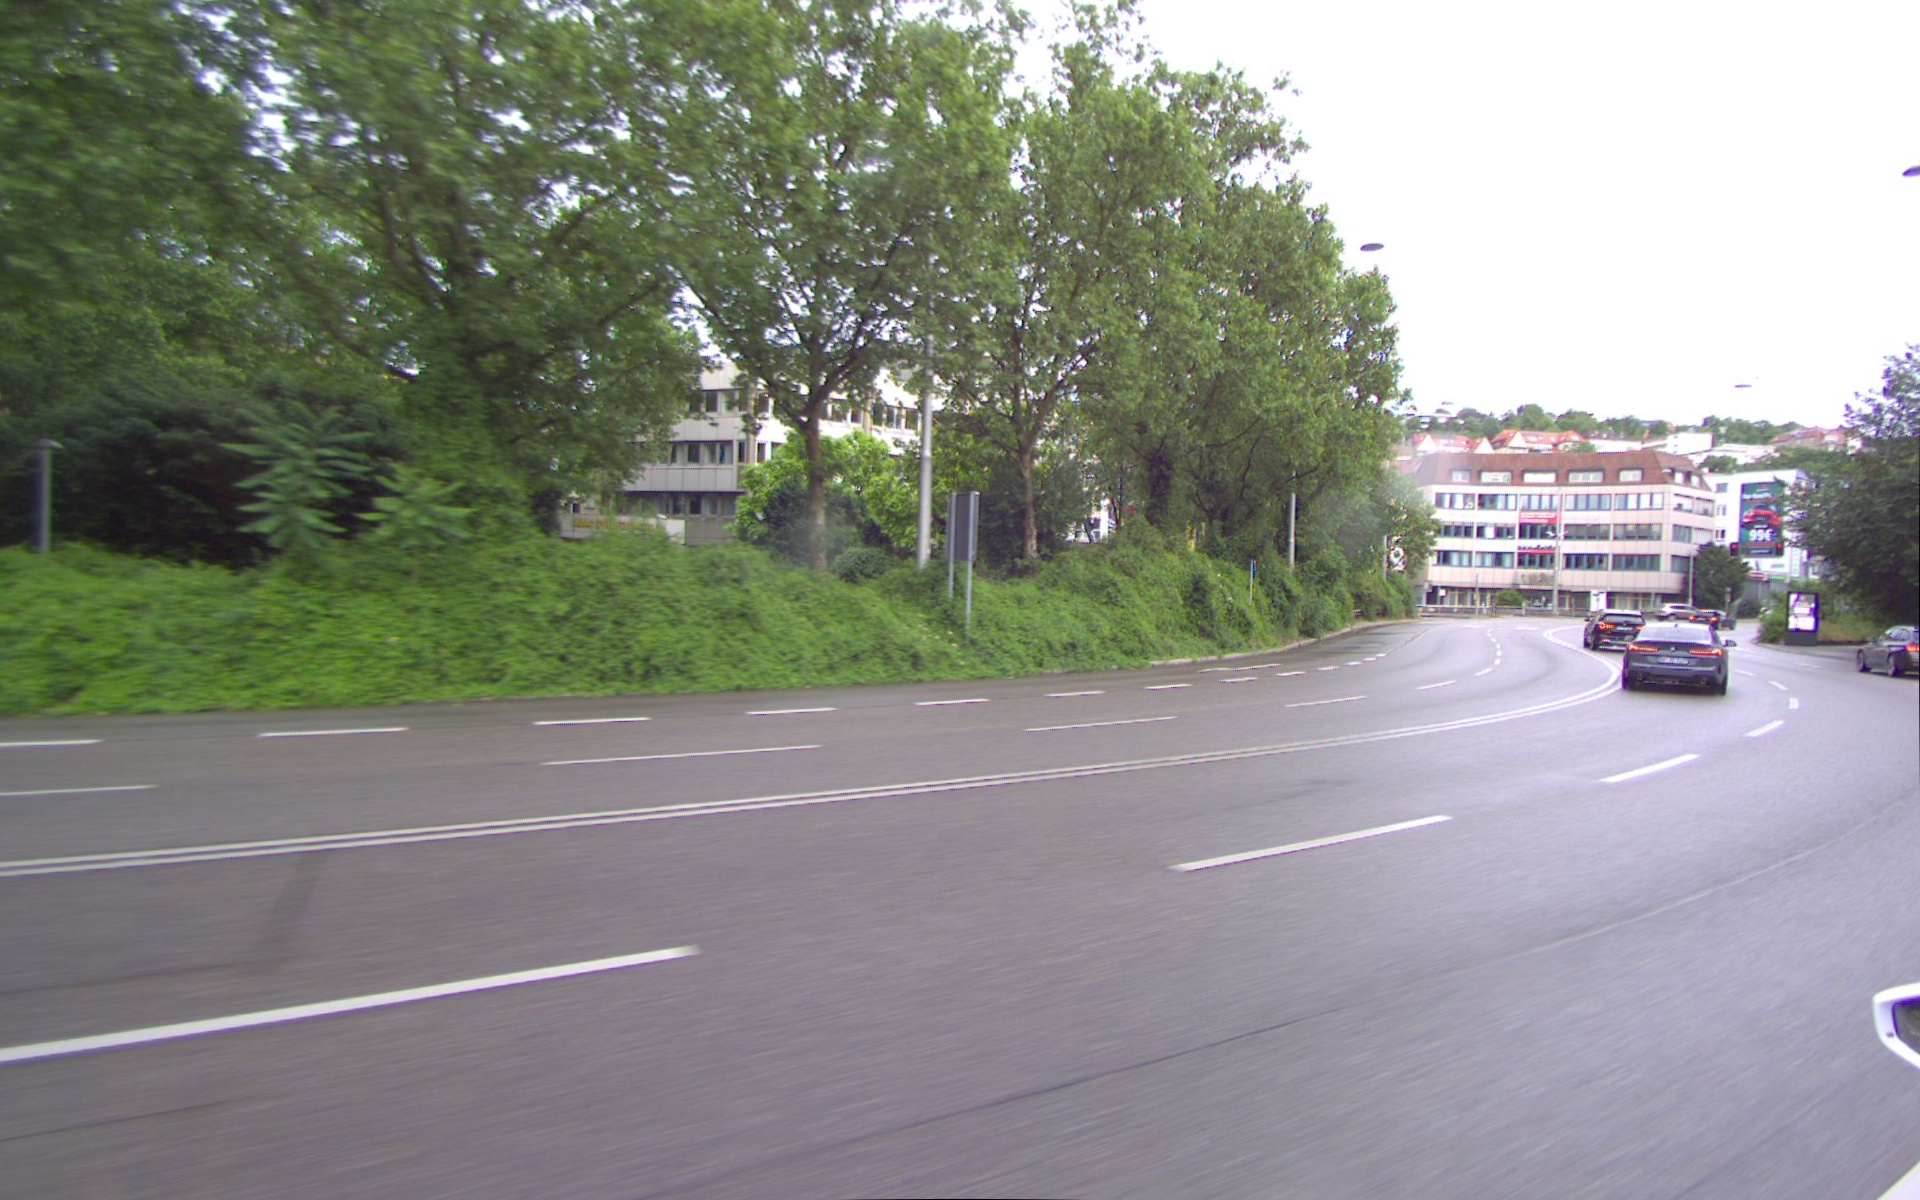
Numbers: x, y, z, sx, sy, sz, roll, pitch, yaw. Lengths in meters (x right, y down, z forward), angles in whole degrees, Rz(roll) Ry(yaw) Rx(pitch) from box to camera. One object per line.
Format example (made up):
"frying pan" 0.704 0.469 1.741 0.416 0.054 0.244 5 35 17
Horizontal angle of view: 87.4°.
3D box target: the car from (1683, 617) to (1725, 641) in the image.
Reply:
"car" 54.973 2.105 74.198 3.972 1.673 1.812 1 0 -44

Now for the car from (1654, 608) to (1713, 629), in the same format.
"car" 64.988 1.682 90.273 3.921 1.751 1.665 1 0 19

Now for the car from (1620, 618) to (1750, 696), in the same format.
"car" 15.838 1.158 21.859 1.648 1.434 4.511 2 1 44

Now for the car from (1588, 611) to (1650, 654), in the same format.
"car" 26.157 1.255 39.793 1.736 1.607 4.395 0 -1 38

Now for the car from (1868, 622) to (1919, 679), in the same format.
"car" 27.722 1.503 28.607 1.731 1.451 4.408 1 -4 28
